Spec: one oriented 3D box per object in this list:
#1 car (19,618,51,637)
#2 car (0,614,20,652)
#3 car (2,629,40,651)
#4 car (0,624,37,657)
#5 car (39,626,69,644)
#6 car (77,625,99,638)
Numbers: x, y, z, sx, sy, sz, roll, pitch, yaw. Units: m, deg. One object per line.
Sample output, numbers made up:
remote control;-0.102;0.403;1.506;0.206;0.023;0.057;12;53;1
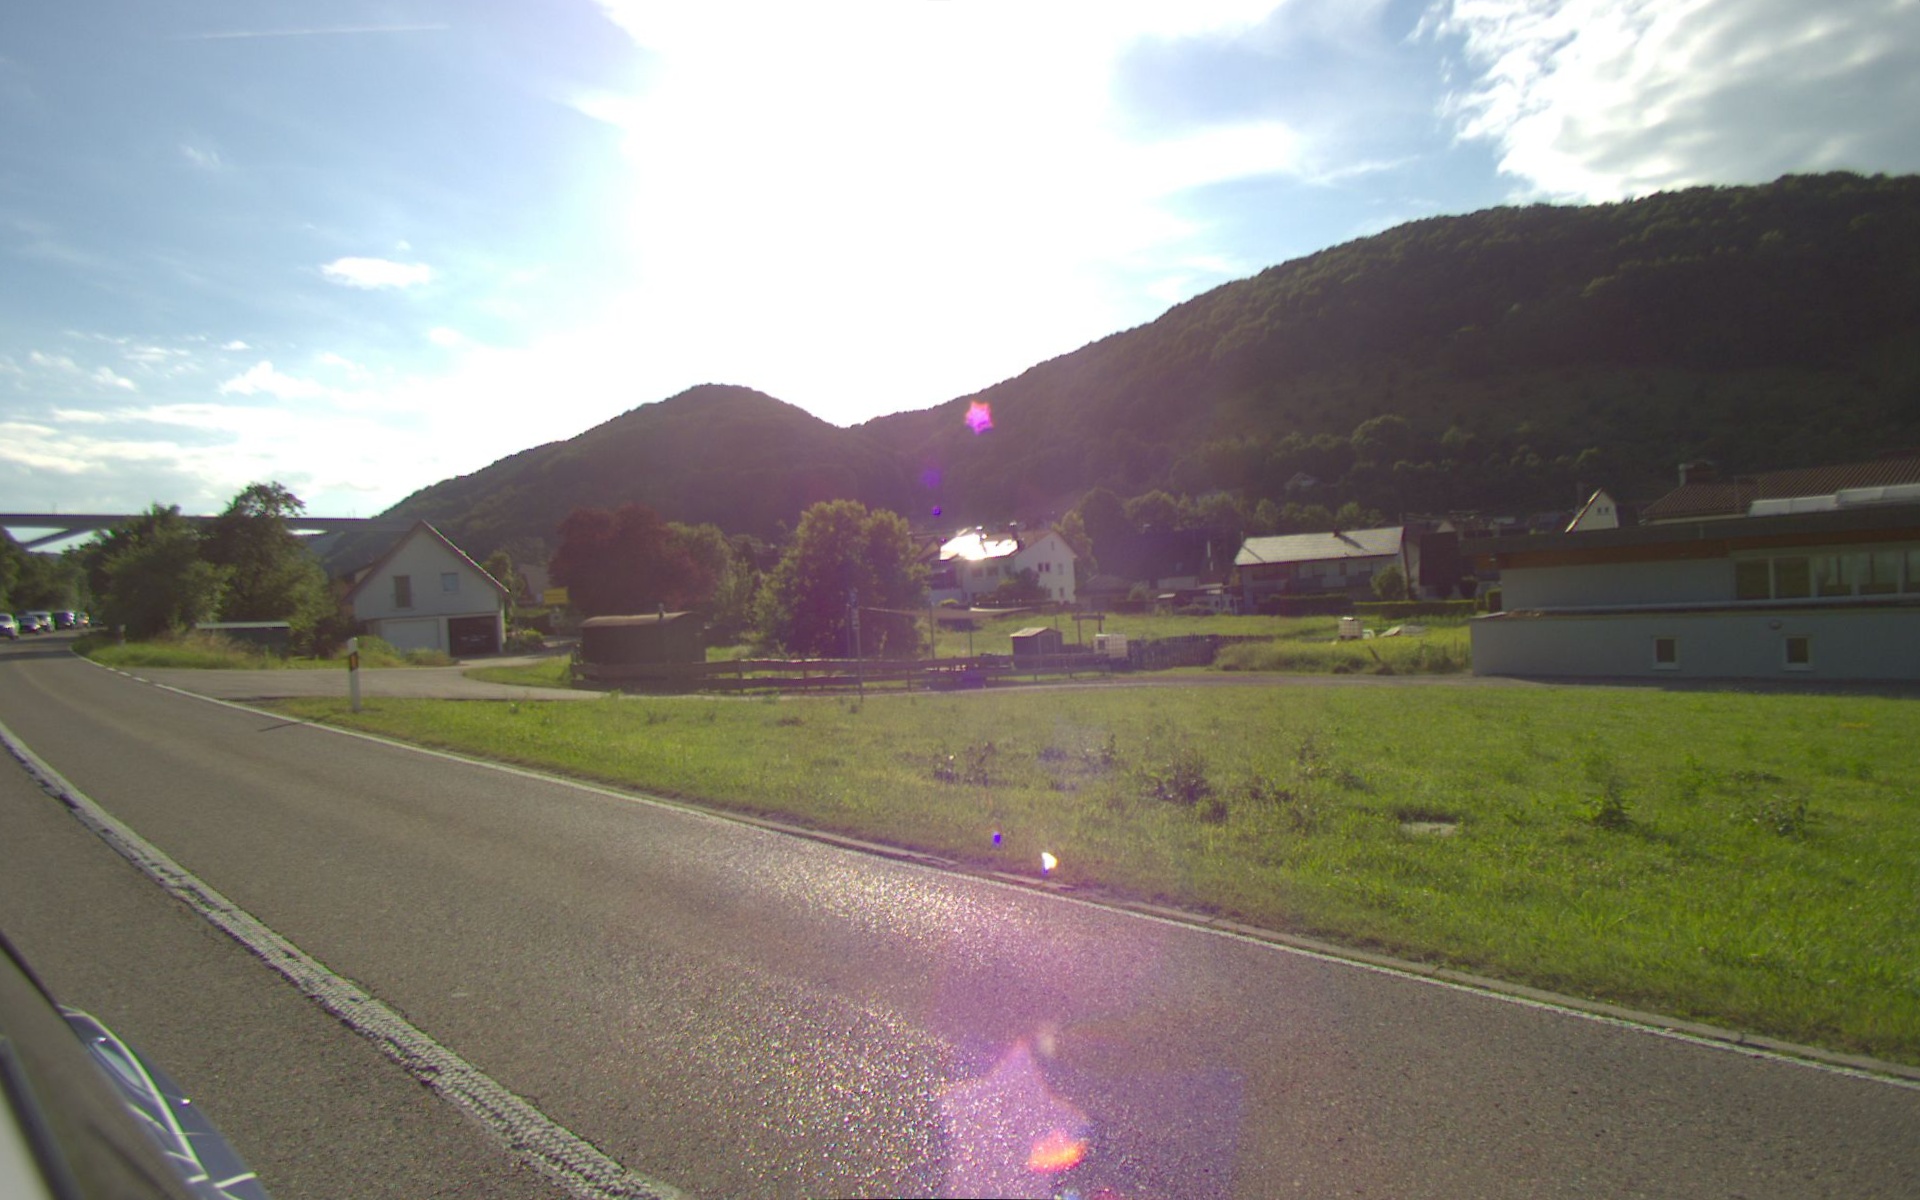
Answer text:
car;-79.773;2.361;87.318;1.791;1.630;4.006;1;-1;-40
car;-53.567;1.824;56.098;1.886;2.029;4.006;1;-2;-40
car;-71.523;3.022;77.095;1.814;1.564;4.185;1;-2;-39
car;-59.898;2.556;64.076;1.886;2.029;4.007;1;-2;-39
car;-87.765;3.362;98.103;1.790;1.630;4.009;1;-2;-37
car;-112.743;4.081;130.915;1.813;1.564;4.187;1;-2;-37
